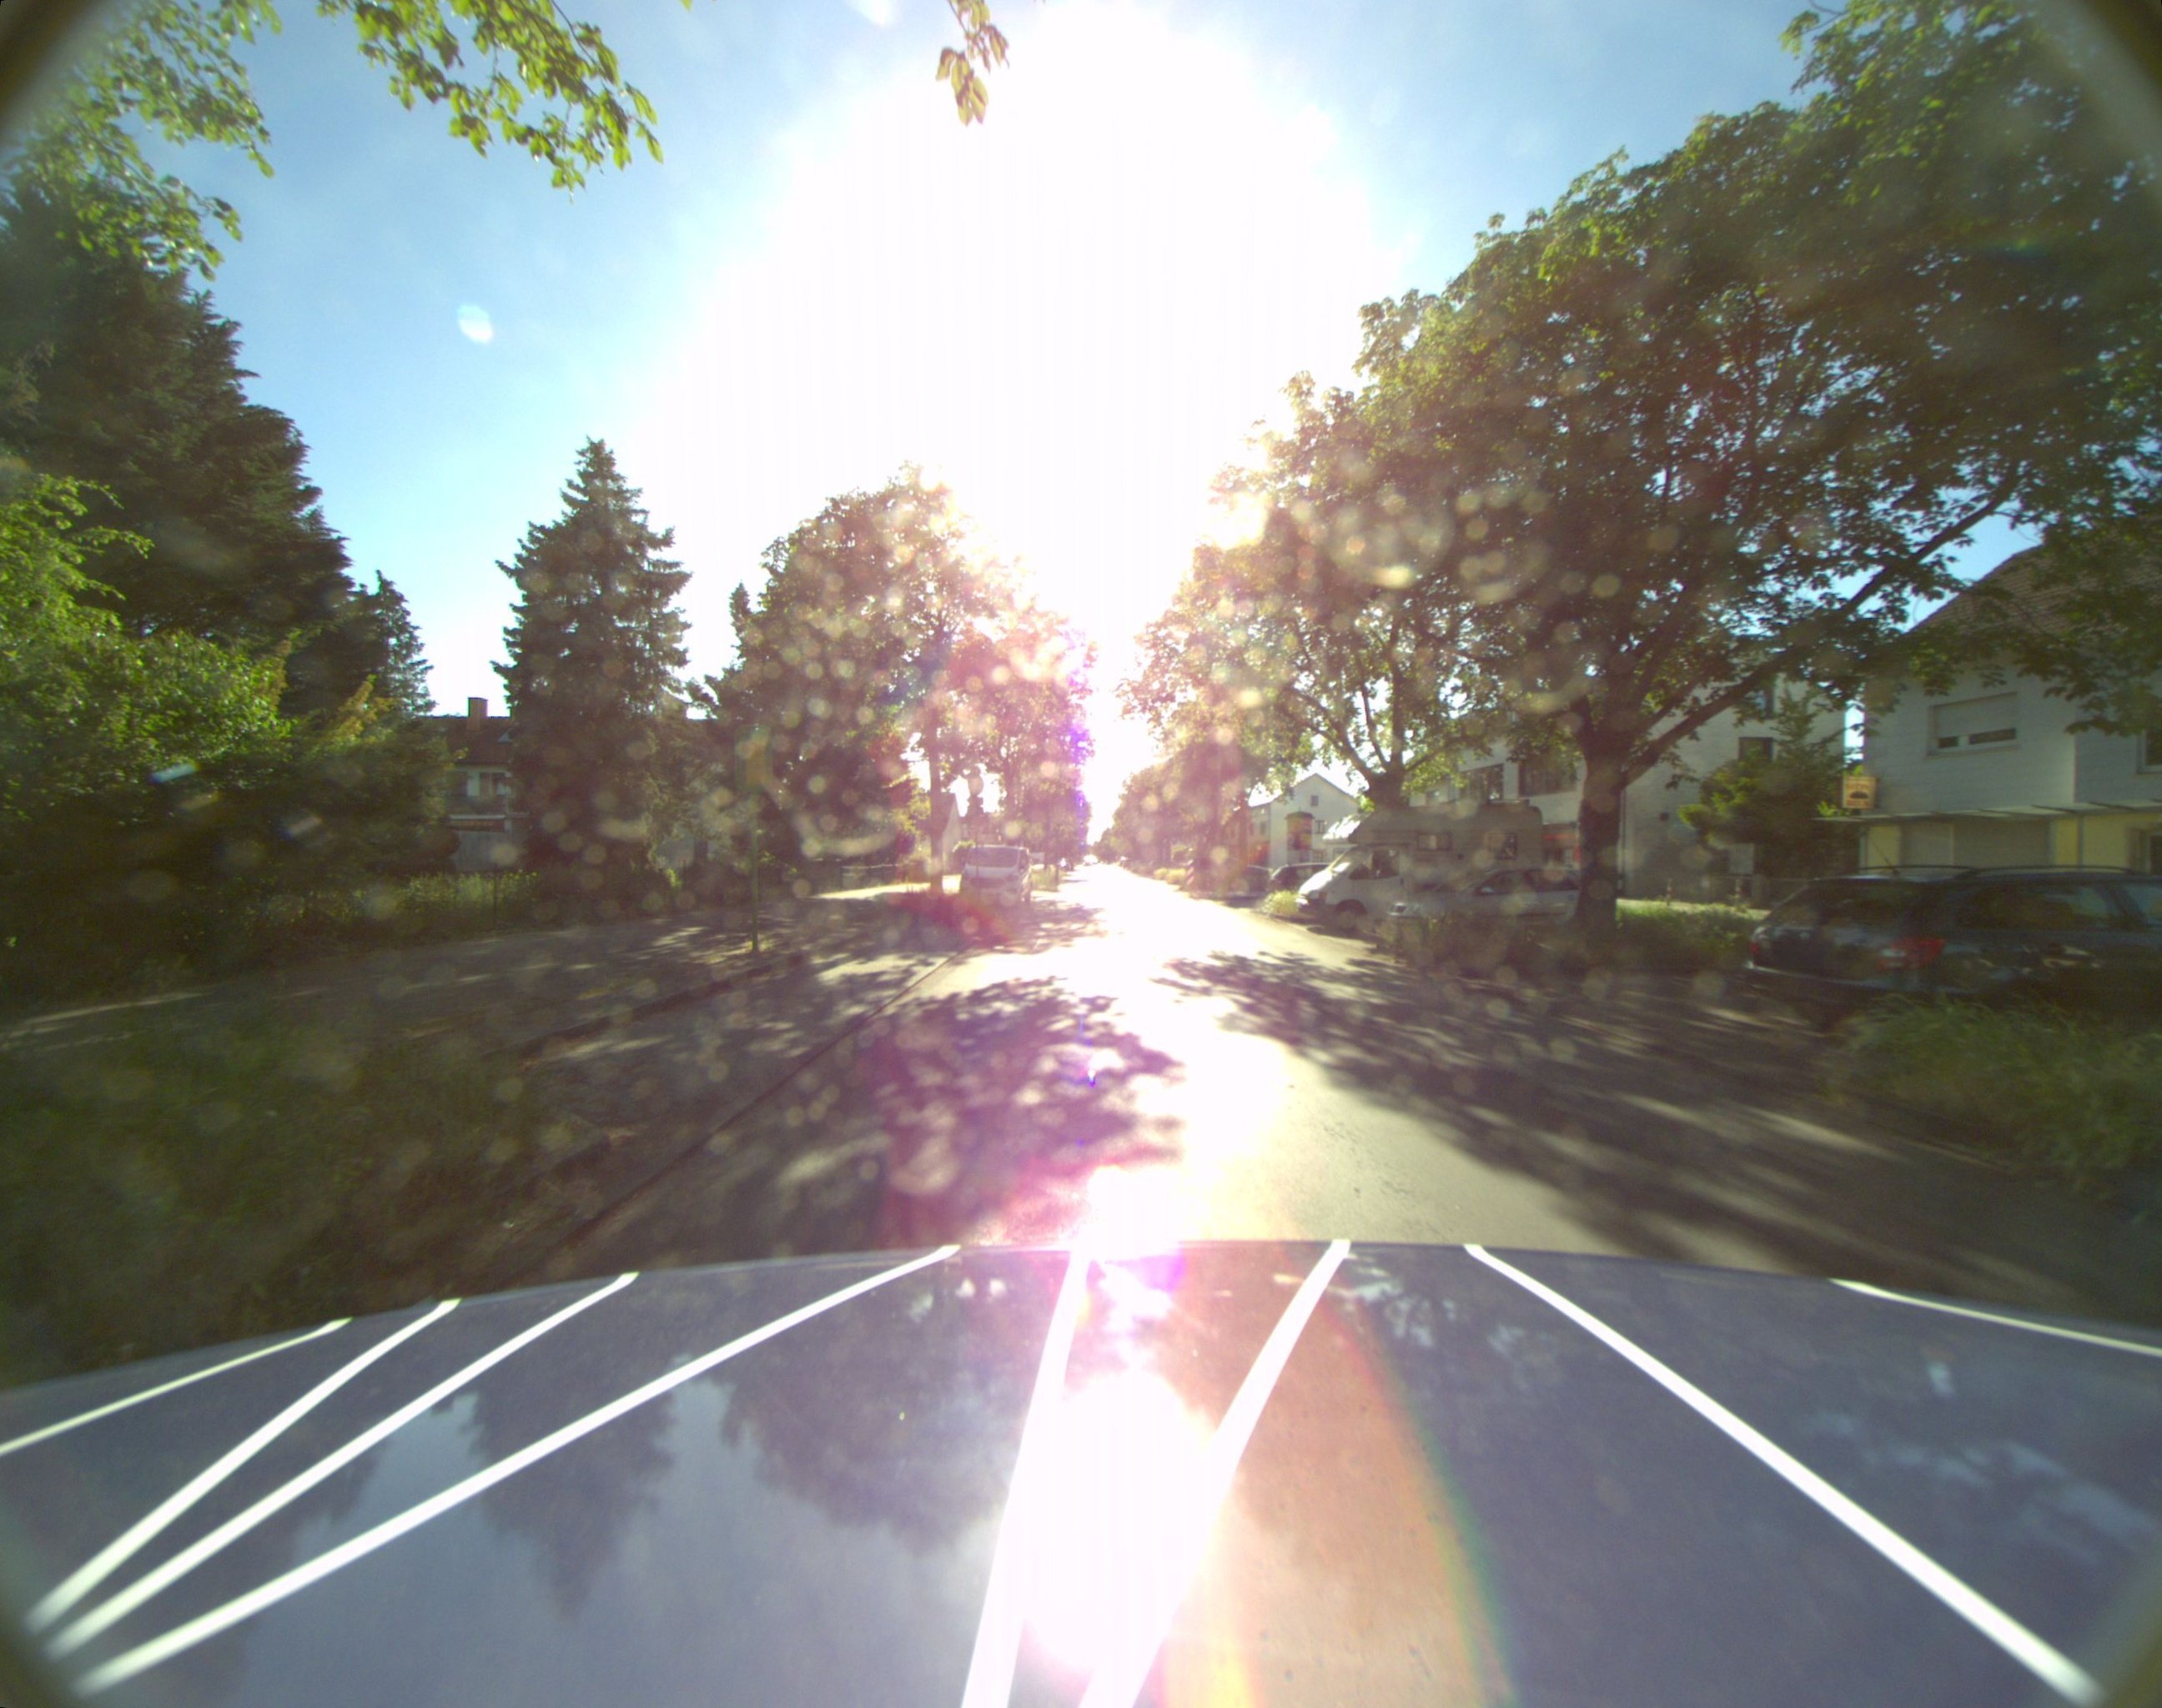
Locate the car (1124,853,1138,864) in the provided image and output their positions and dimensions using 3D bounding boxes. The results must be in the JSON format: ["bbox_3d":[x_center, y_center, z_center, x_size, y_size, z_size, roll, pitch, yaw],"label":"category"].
[{"bbox_3d":[7.499,0.640,115.011,1.998,1.530,3.695,-3,1,3],"label":"car"}]

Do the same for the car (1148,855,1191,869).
[{"bbox_3d":[9.607,0.841,82.852,4.392,1.408,2.000,-1,1,0],"label":"car"}]

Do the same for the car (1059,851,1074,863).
[{"bbox_3d":[-1.776,0.381,93.236,1.690,1.414,3.777,2,1,2],"label":"car"}]

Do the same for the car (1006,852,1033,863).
[{"bbox_3d":[-8.698,0.460,107.821,3.621,1.431,1.695,-3,1,-2],"label":"car"}]

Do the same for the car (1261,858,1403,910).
[{"bbox_3d":[7.915,0.941,24.193,3.996,1.441,1.640,-2,1,4],"label":"car"}]

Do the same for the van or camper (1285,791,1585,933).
[{"bbox_3d":[7.874,0.183,17.361,5.789,2.789,2.000,-3,1,3],"label":"van or camper"}]

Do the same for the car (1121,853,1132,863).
[{"bbox_3d":[7.582,0.666,126.329,1.815,1.722,4.056,0,0,3],"label":"car"}]

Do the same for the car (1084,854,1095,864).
[{"bbox_3d":[1.444,0.857,125.523,1.539,1.582,3.458,-3,1,3],"label":"car"}]

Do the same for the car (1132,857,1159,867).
[{"bbox_3d":[9.335,1.195,110.157,3.695,1.315,1.624,-2,1,-5],"label":"car"}]

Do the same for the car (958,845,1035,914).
[{"bbox_3d":[-2.753,0.752,25.876,1.999,2.002,5.195,-3,1,0],"label":"car"}]

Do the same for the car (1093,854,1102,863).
[{"bbox_3d":[3.083,0.832,145.320,1.539,1.582,3.458,-3,1,3],"label":"car"}]

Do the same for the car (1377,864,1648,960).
[{"bbox_3d":[8.071,1.043,14.498,3.997,1.450,1.999,-3,1,-1],"label":"car"}]

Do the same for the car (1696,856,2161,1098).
[{"bbox_3d":[8.209,0.921,6.655,3.997,1.580,2.000,-3,1,0],"label":"car"}]

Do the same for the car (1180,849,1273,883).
[{"bbox_3d":[8.581,0.686,45.120,5.075,1.718,1.999,-3,1,-3],"label":"car"}]

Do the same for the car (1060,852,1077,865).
[{"bbox_3d":[-1.563,0.601,99.179,1.941,1.684,4.363,0,0,3],"label":"car"}]
